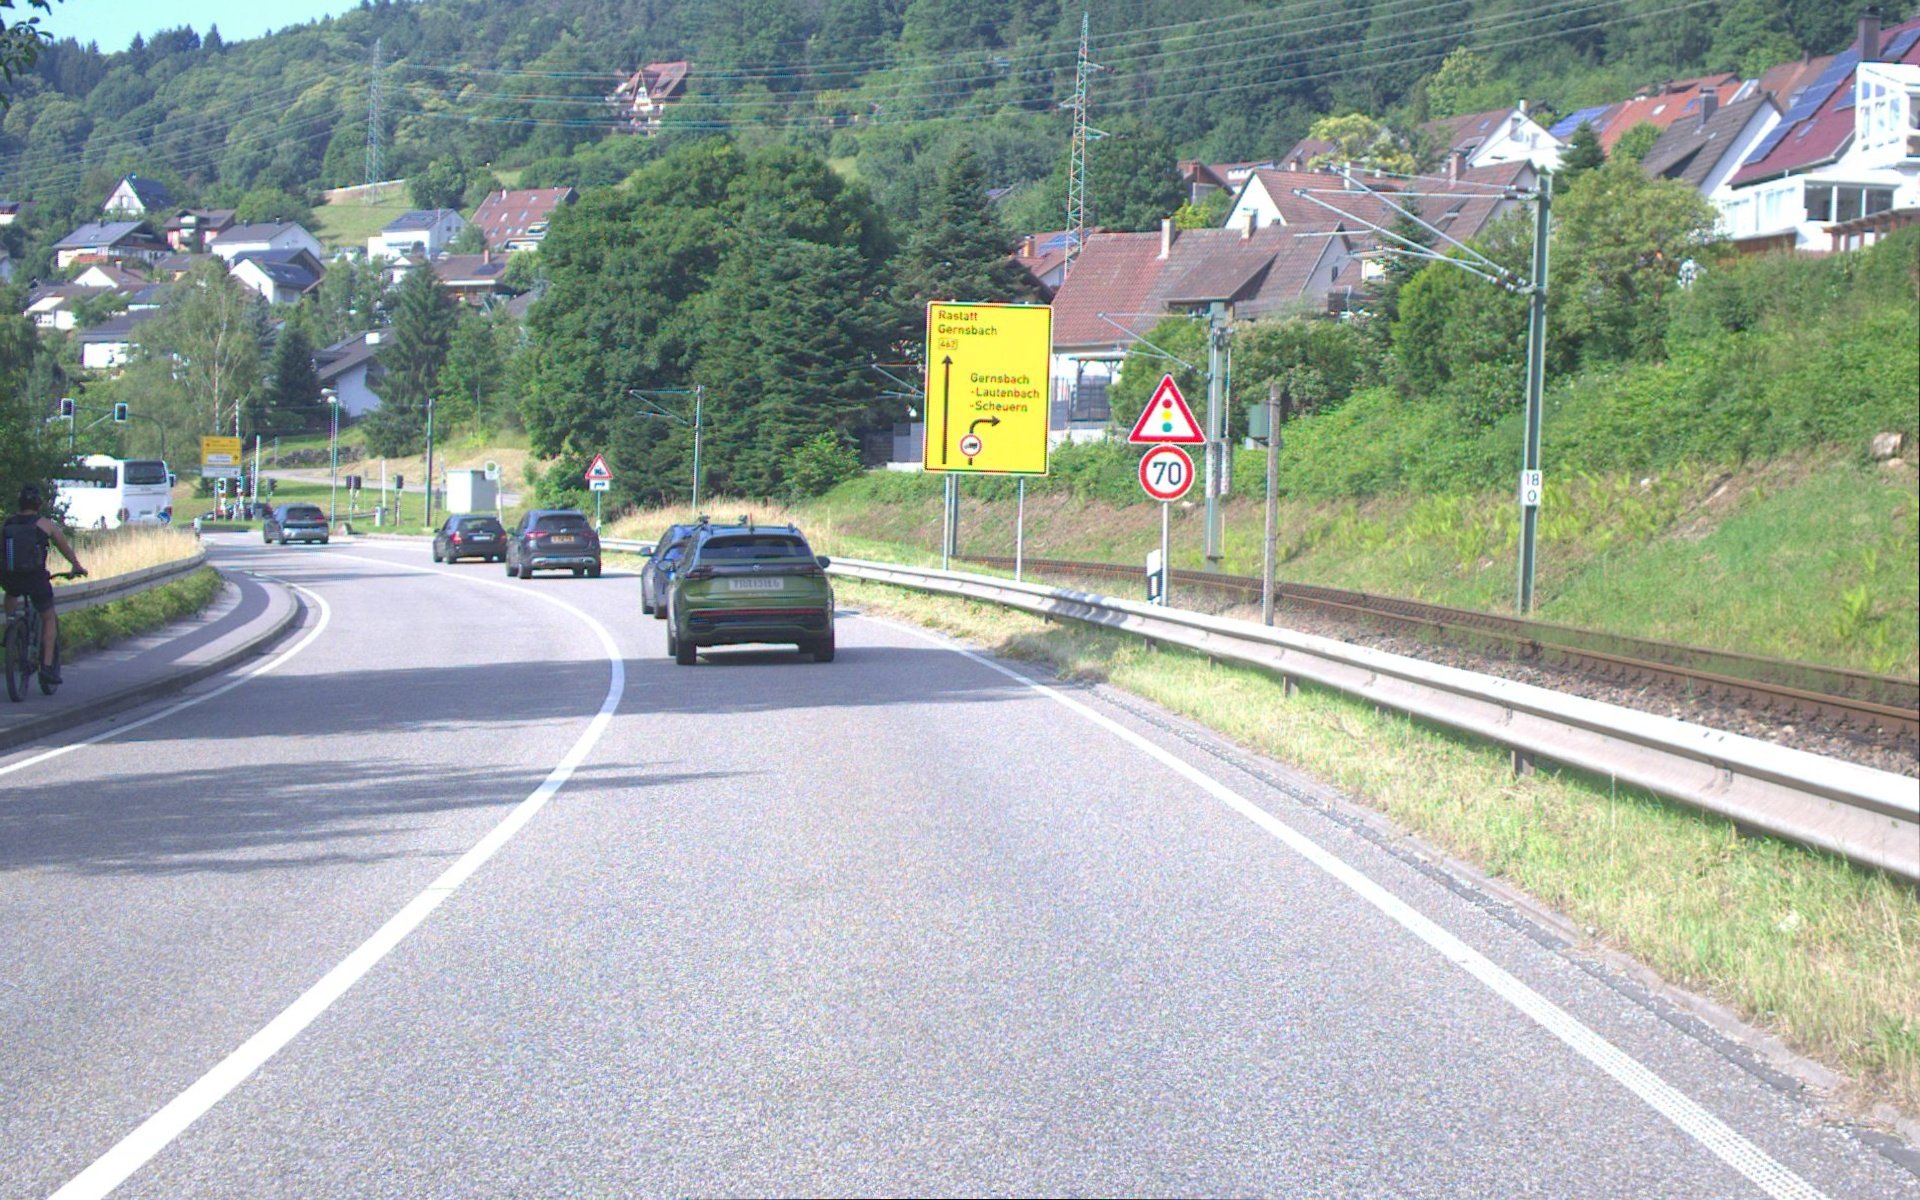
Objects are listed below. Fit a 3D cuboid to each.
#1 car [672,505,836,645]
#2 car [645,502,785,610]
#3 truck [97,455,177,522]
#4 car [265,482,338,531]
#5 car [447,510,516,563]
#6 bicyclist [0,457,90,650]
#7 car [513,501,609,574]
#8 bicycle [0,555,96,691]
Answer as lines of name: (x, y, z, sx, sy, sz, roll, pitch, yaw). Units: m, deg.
car: (-2.337, -0.315, 38.494, 1.714, 1.450, 4.001, -1, 2, -4)
car: (-3.806, -0.701, 52.845, 1.666, 1.554, 4.001, 1, 1, -10)
truck: (-39.742, -5.405, 165.919, 2.711, 3.073, 6.111, 0, 2, -23)
car: (-26.271, -3.741, 137.113, 2.062, 1.805, 4.001, 1, 2, -22)
car: (-14.259, -1.911, 102.324, 1.848, 1.521, 3.663, 0, 2, -10)
bicyclist: (-7.830, -0.405, 29.195, 0.557, 1.581, 1.036, 4, 1, -2)
car: (-9.602, -1.521, 82.514, 1.879, 1.681, 4.001, 1, 1, -12)
bicycle: (-7.902, 0.174, 29.264, 0.557, 1.042, 2.230, 4, 2, -2)
